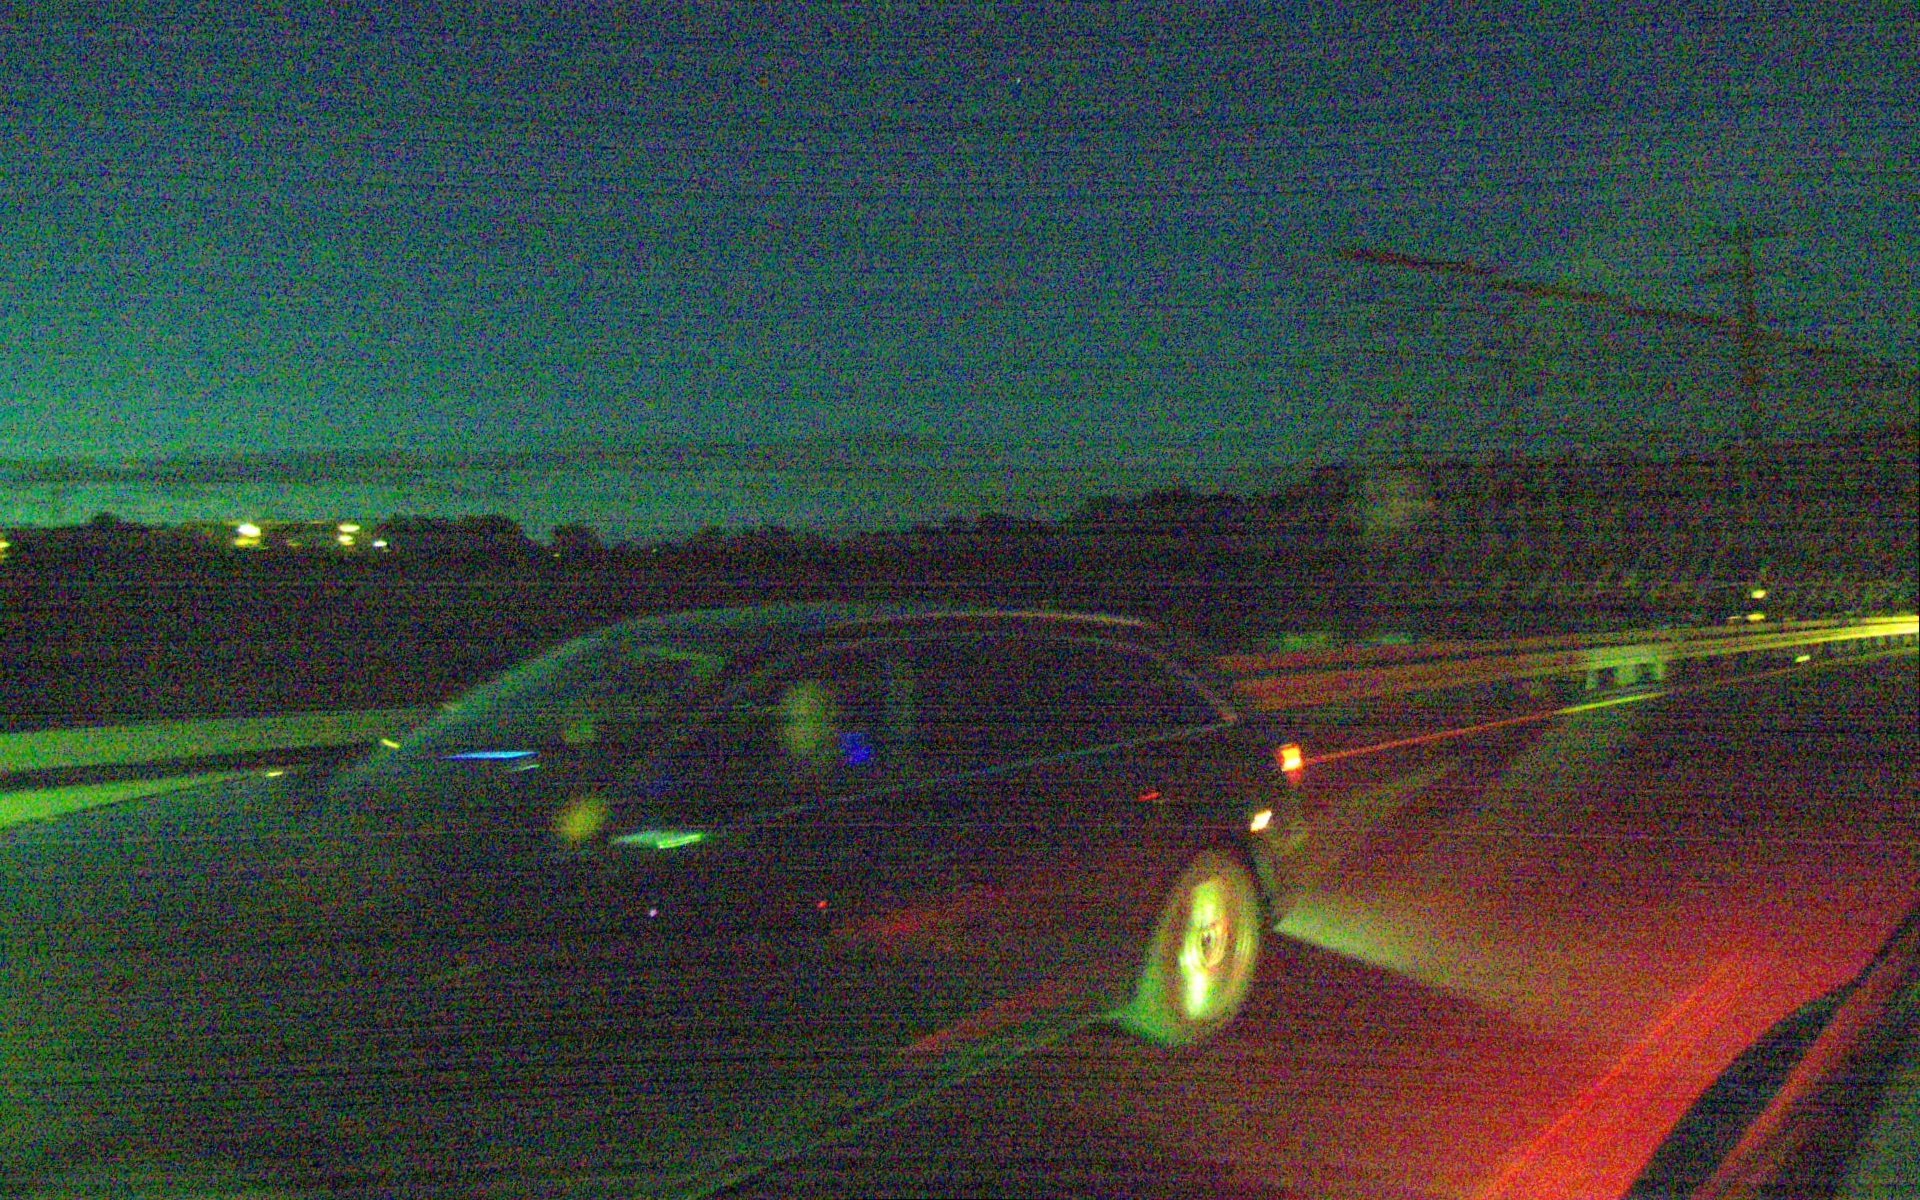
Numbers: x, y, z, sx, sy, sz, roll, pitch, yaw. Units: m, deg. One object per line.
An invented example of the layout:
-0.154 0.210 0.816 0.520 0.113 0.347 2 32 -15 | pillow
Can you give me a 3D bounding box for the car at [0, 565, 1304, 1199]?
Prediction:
-1.151 0.658 2.957 4.787 1.444 1.812 0 2 -39 | car
